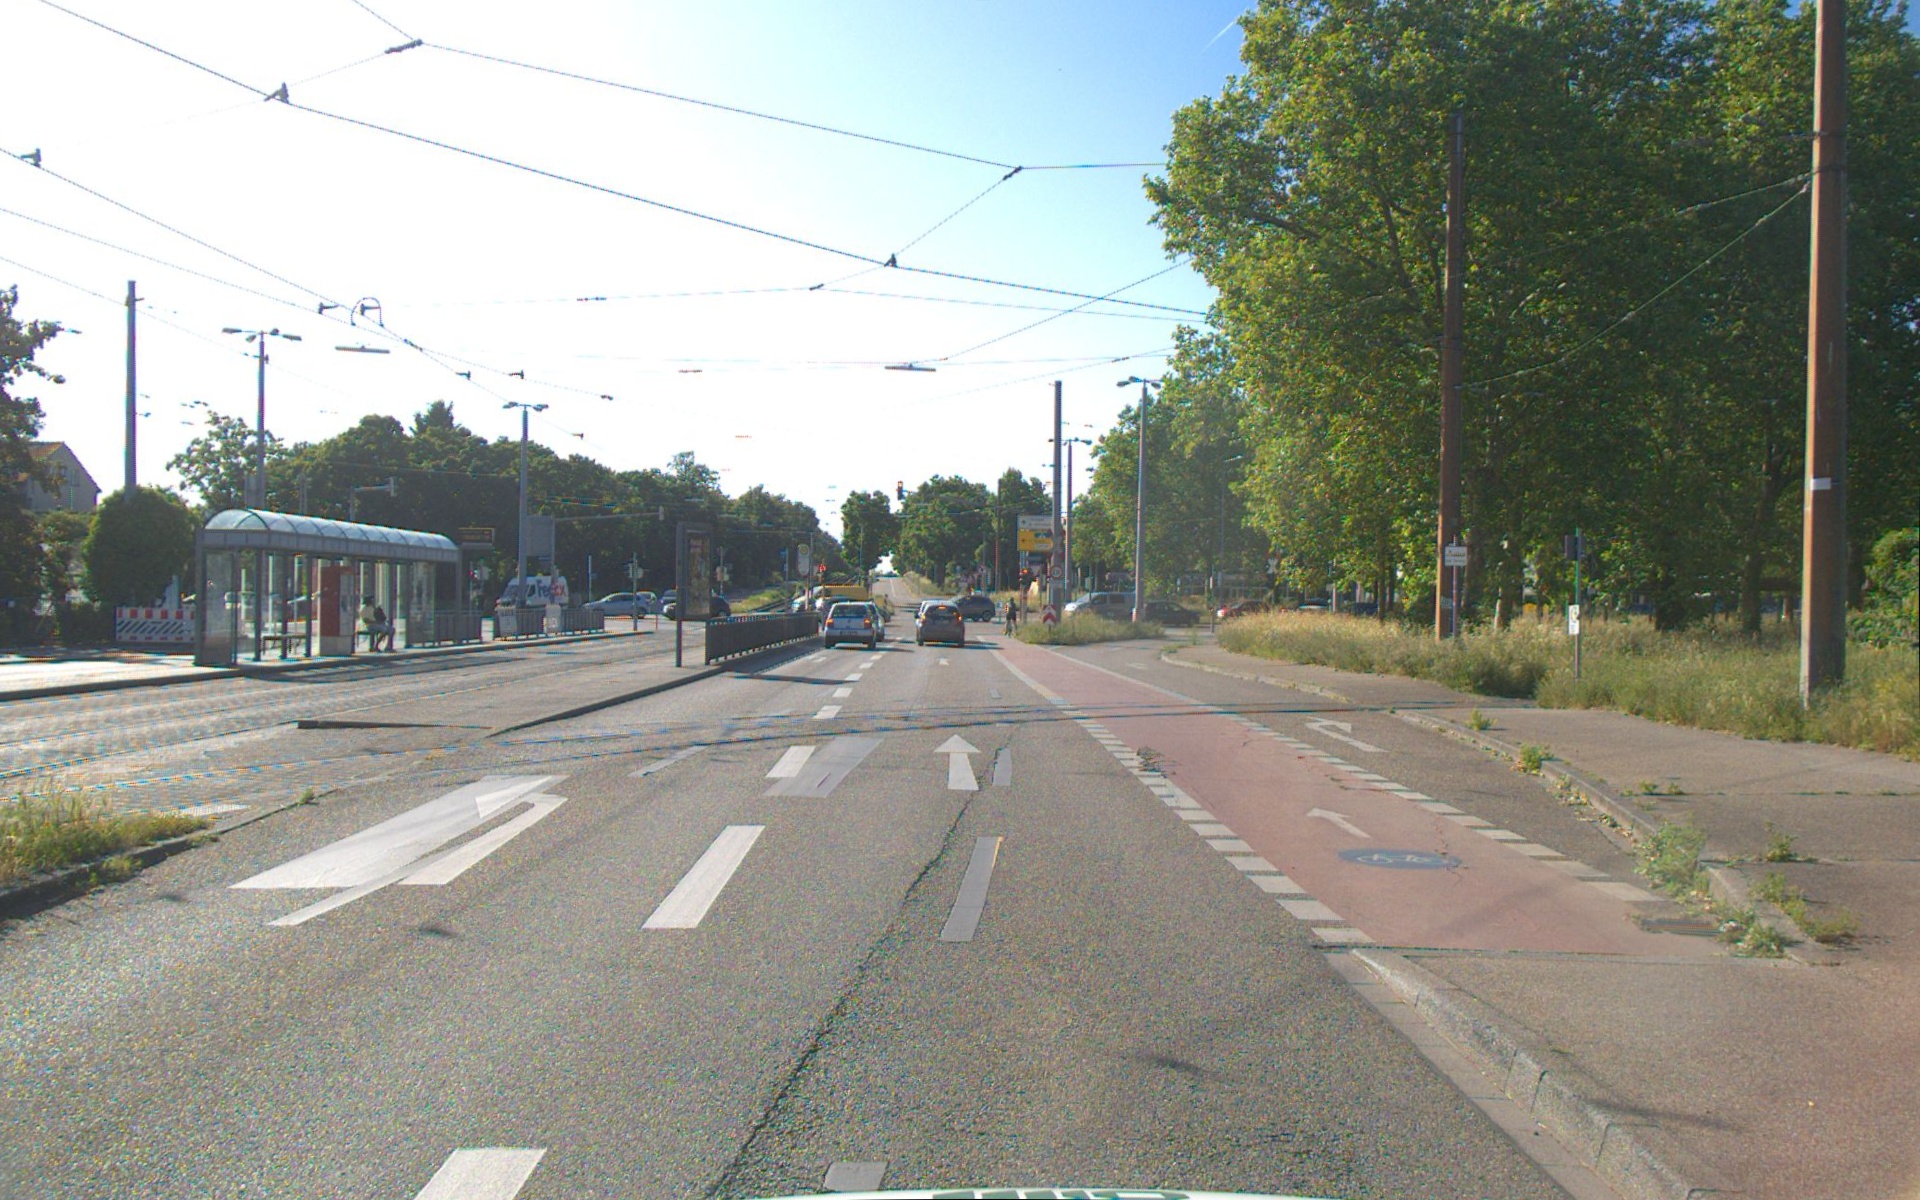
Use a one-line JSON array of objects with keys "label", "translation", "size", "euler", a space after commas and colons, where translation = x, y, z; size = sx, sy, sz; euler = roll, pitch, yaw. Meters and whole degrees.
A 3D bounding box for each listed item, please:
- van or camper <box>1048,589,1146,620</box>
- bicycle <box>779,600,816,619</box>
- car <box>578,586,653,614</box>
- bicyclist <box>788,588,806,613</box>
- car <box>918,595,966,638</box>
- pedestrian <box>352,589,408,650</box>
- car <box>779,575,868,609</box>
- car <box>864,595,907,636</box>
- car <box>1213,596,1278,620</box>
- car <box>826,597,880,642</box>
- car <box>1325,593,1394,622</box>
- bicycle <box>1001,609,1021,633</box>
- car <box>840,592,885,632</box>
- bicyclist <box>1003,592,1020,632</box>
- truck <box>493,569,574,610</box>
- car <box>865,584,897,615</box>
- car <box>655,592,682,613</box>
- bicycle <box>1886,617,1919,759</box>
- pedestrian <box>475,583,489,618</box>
[{"label": "van or camper", "translation": [8.534, 0.274, 102.826], "size": [5.886, 1.860, 1.986], "euler": [1, 0, -23]}, {"label": "bicycle", "translation": [-10.923, 0.652, 110.959], "size": [2.359, 1.285, 0.813], "euler": [0, 0, -19]}, {"label": "car", "translation": [-20.111, 0.023, 96.582], "size": [3.952, 1.499, 1.731], "euler": [2, -1, -35]}, {"label": "bicyclist", "translation": [-10.938, 0.051, 110.932], "size": [0.991, 1.676, 0.813], "euler": [1, 0, -19]}, {"label": "car", "translation": [-0.662, 0.575, 59.508], "size": [1.635, 1.487, 3.585], "euler": [1, 0, -2]}, {"label": "pedestrian", "translation": [-14.246, 0.478, 40.654], "size": [1.039, 1.478, 1.007], "euler": [0, -1, -1]}, {"label": "car", "translation": [-8.460, -0.489, 102.720], "size": [5.095, 1.912, 1.982], "euler": [2, -1, -28]}, {"label": "car", "translation": [-2.957, 0.600, 66.296], "size": [1.578, 1.590, 4.287], "euler": [1, 0, -1]}, {"label": "car", "translation": [18.566, 0.493, 107.420], "size": [3.948, 1.427, 1.599], "euler": [-1, 1, -22]}, {"label": "car", "translation": [-3.457, 0.625, 53.851], "size": [1.586, 1.442, 3.350], "euler": [0, 0, -1]}, {"label": "car", "translation": [29.268, 0.534, 121.068], "size": [4.624, 1.912, 1.986], "euler": [2, -1, -24]}, {"label": "bicycle", "translation": [2.253, 0.936, 73.720], "size": [0.707, 1.006, 2.875], "euler": [2, -1, -1]}, {"label": "car", "translation": [-3.815, 0.480, 65.145], "size": [1.586, 1.482, 4.084], "euler": [1, 0, -1]}, {"label": "bicyclist", "translation": [2.269, 0.522, 73.535], "size": [0.652, 1.746, 0.948], "euler": [2, -1, -1]}, {"label": "truck", "translation": [-28.334, -0.699, 110.148], "size": [1.951, 2.610, 6.827], "euler": [0, 0, 16]}, {"label": "car", "translation": [-5.463, -0.025, 114.574], "size": [1.953, 2.049, 4.491], "euler": [2, -1, 0]}, {"label": "car", "translation": [-22.354, 0.162, 126.985], "size": [1.797, 1.575, 4.278], "euler": [0, 0, -7]}, {"label": "bicycle", "translation": [8.098, 0.730, 13.025], "size": [0.358, 1.155, 2.095], "euler": [1, 0, -2]}, {"label": "pedestrian", "translation": [-28.308, 0.008, 97.960], "size": [0.735, 2.049, 0.789], "euler": [0, 0, -13]}]
